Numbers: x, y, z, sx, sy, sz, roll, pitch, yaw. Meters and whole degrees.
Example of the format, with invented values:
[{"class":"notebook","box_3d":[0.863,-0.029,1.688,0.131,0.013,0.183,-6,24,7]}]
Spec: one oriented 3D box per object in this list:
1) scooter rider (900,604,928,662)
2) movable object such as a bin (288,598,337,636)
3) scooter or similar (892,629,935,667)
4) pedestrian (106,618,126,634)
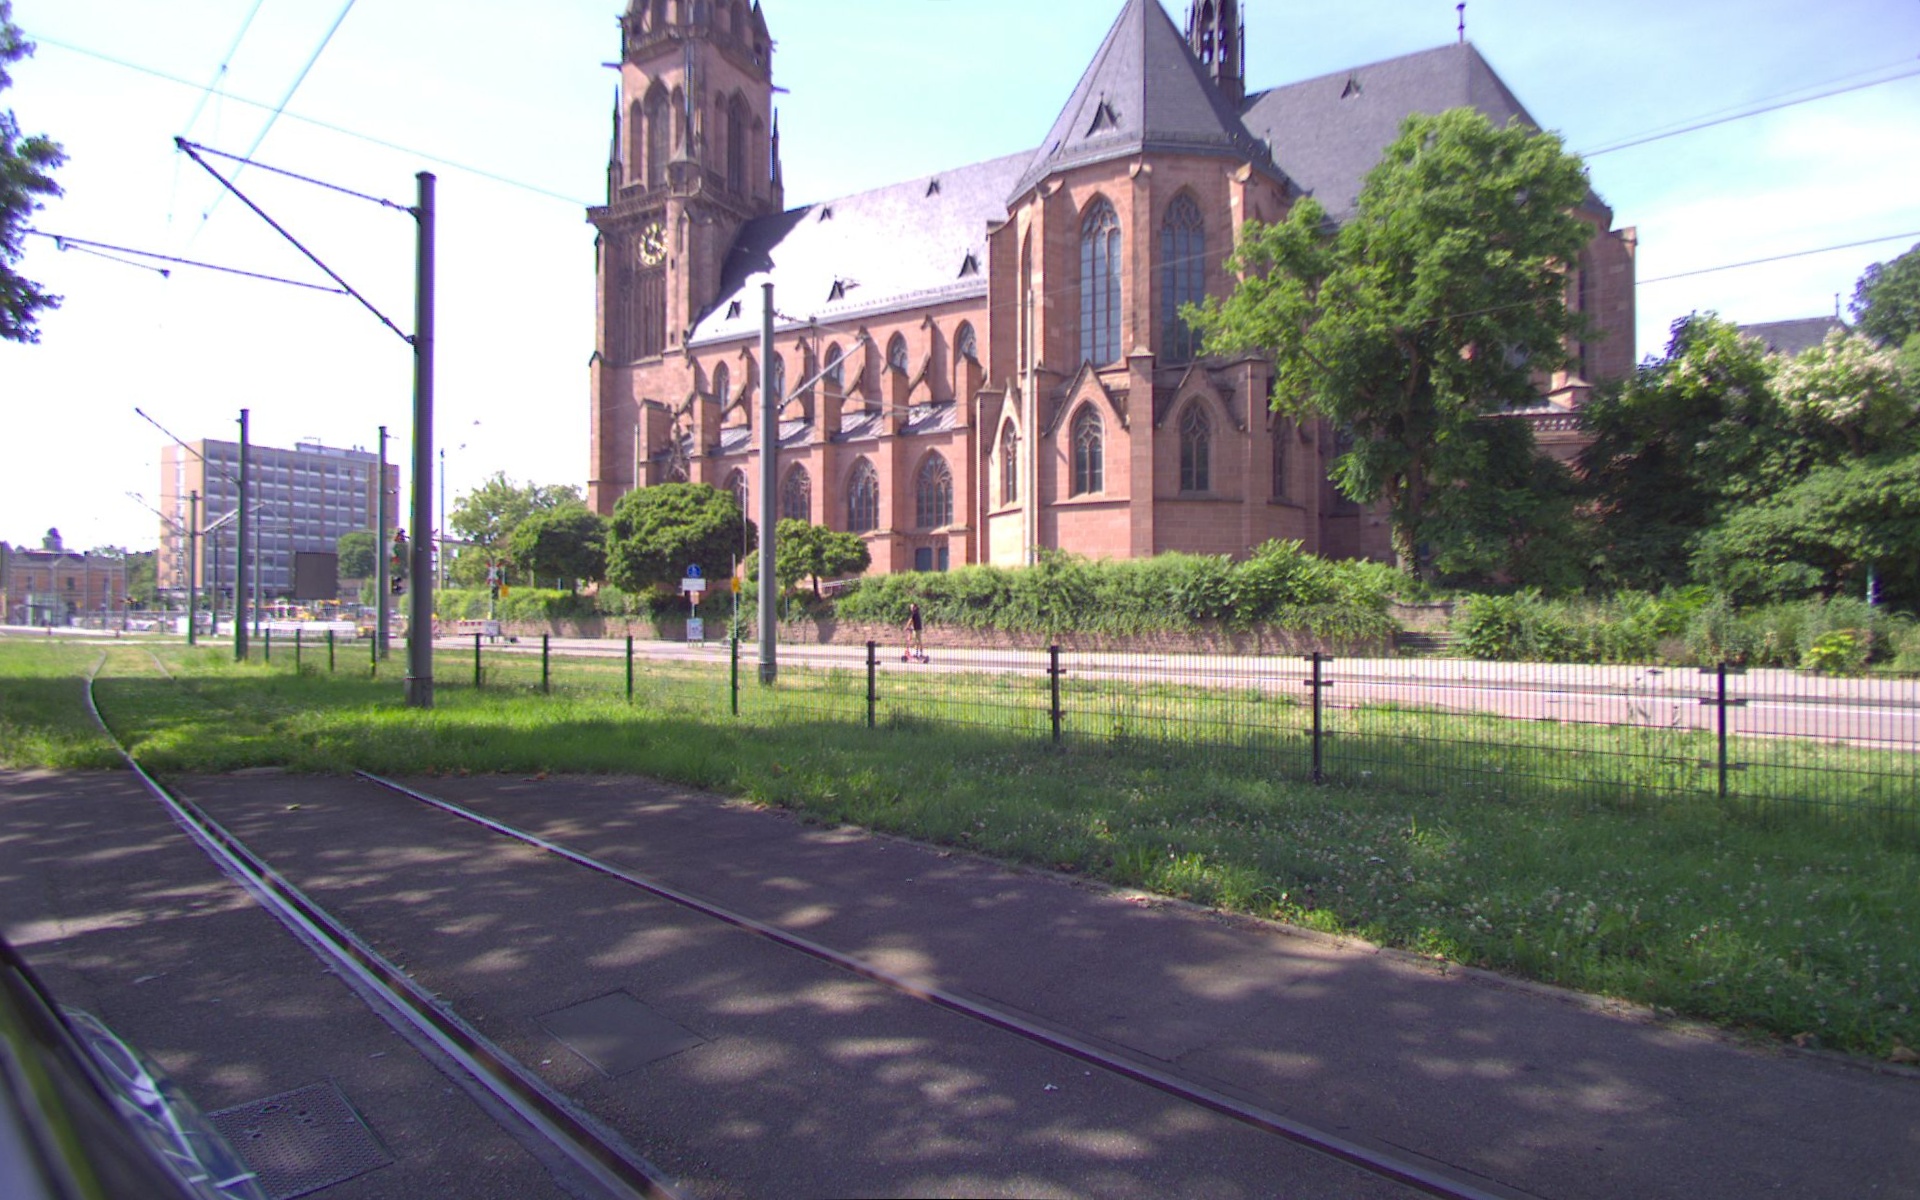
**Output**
[{"class":"scooter rider","box_3d":[-1.520,1.088,33.514,0.658,1.881,0.666,1,-2,-33]},{"class":"movable object such as a bin","box_3d":[-68.586,1.814,107.175,2.904,3.911,3.327,0,-1,8]},{"class":"scooter or similar","box_3d":[-1.547,1.569,33.497,1.249,1.213,0.659,1,-2,-34]},{"class":"pedestrian","box_3d":[-94.385,2.906,113.188,1.420,1.820,1.409,-1,-1,37]}]
